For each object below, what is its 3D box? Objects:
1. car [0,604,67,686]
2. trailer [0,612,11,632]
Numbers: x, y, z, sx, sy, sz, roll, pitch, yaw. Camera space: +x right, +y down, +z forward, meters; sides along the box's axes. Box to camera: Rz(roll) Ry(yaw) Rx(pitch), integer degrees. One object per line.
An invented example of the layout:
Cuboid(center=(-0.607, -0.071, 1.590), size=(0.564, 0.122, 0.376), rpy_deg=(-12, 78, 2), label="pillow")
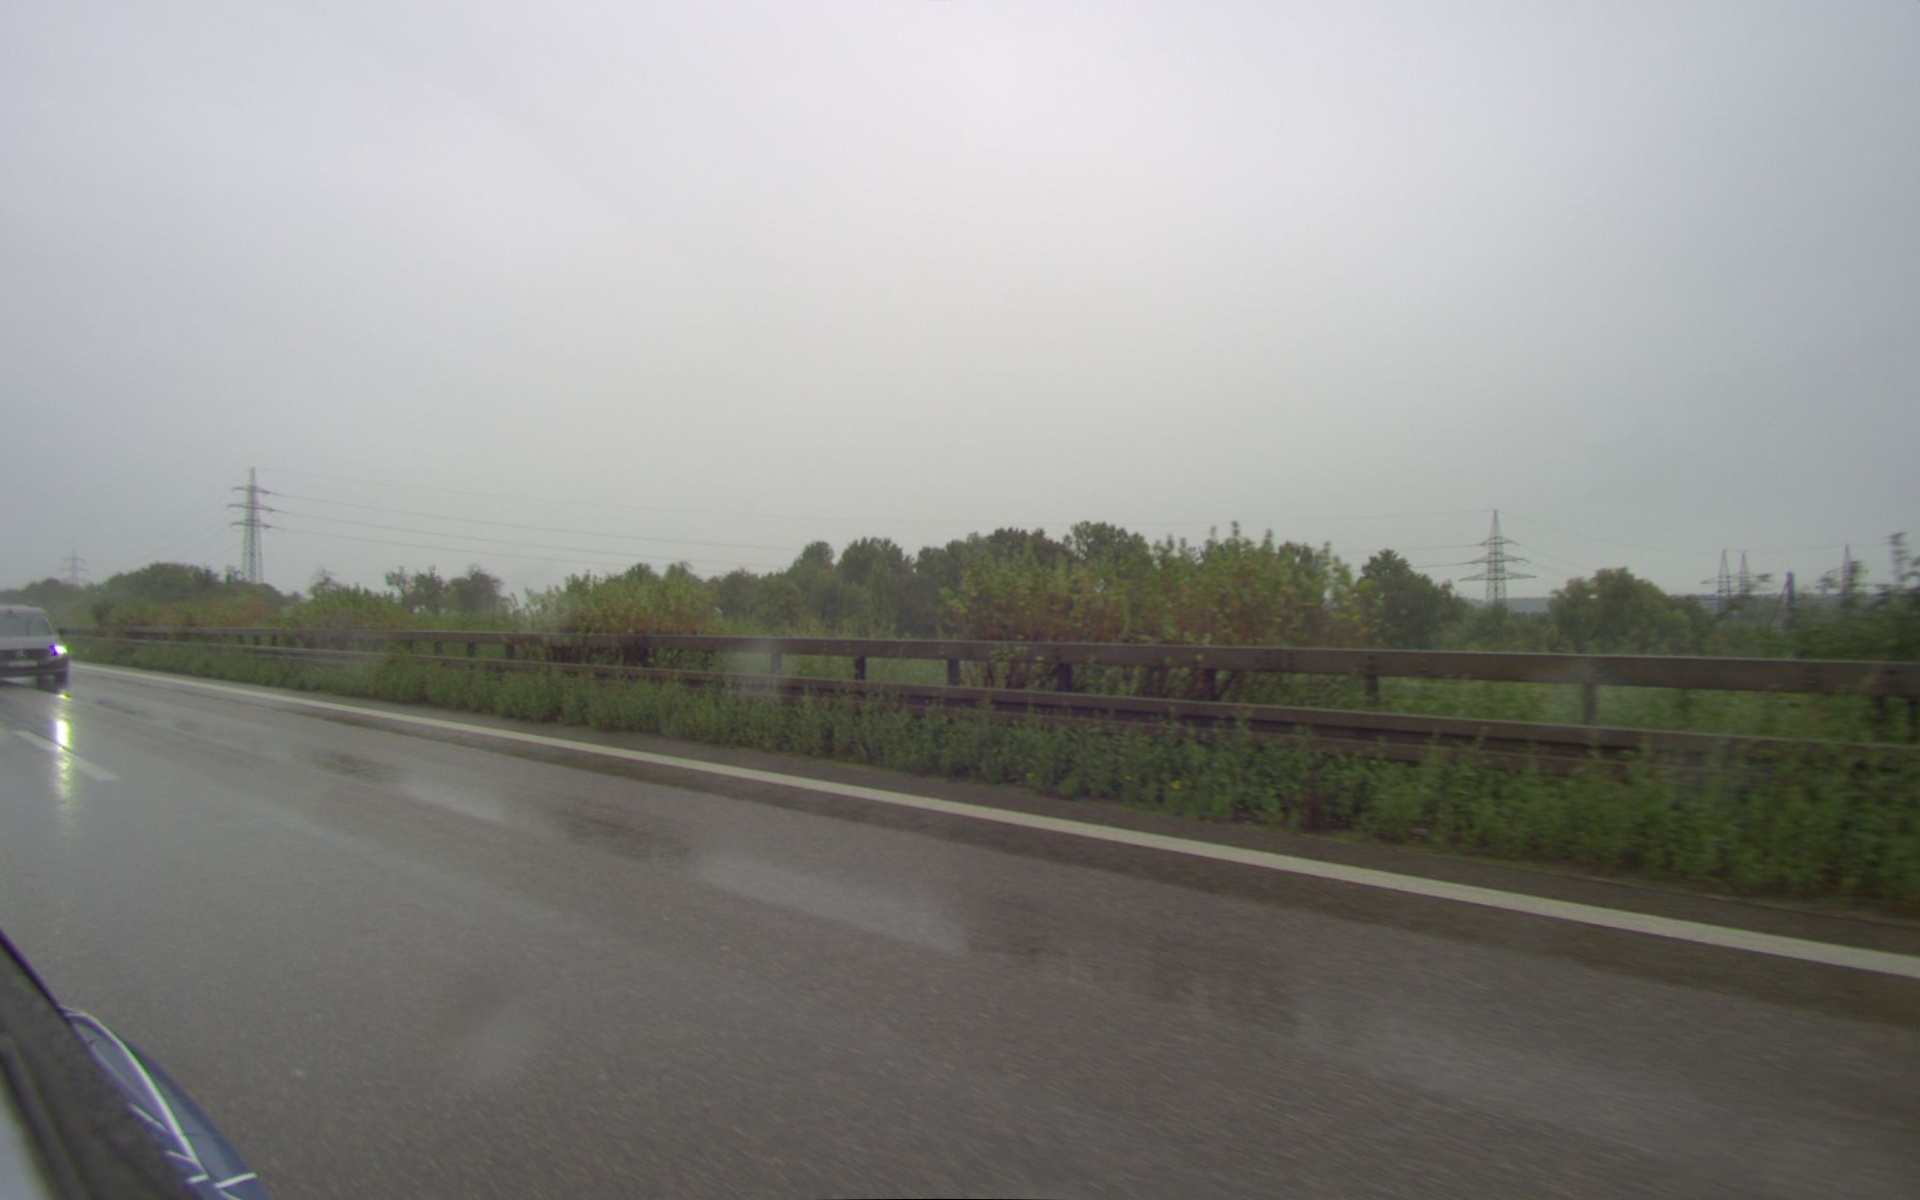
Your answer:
Cuboid(center=(-22.388, 1.014, 23.518), size=(4.500, 1.787, 2.020), rpy_deg=(-1, -1, 43), label="car")
Cuboid(center=(-156.223, 3.563, 164.313), size=(8.261, 3.088, 2.223), rpy_deg=(-1, 0, 41), label="trailer")
